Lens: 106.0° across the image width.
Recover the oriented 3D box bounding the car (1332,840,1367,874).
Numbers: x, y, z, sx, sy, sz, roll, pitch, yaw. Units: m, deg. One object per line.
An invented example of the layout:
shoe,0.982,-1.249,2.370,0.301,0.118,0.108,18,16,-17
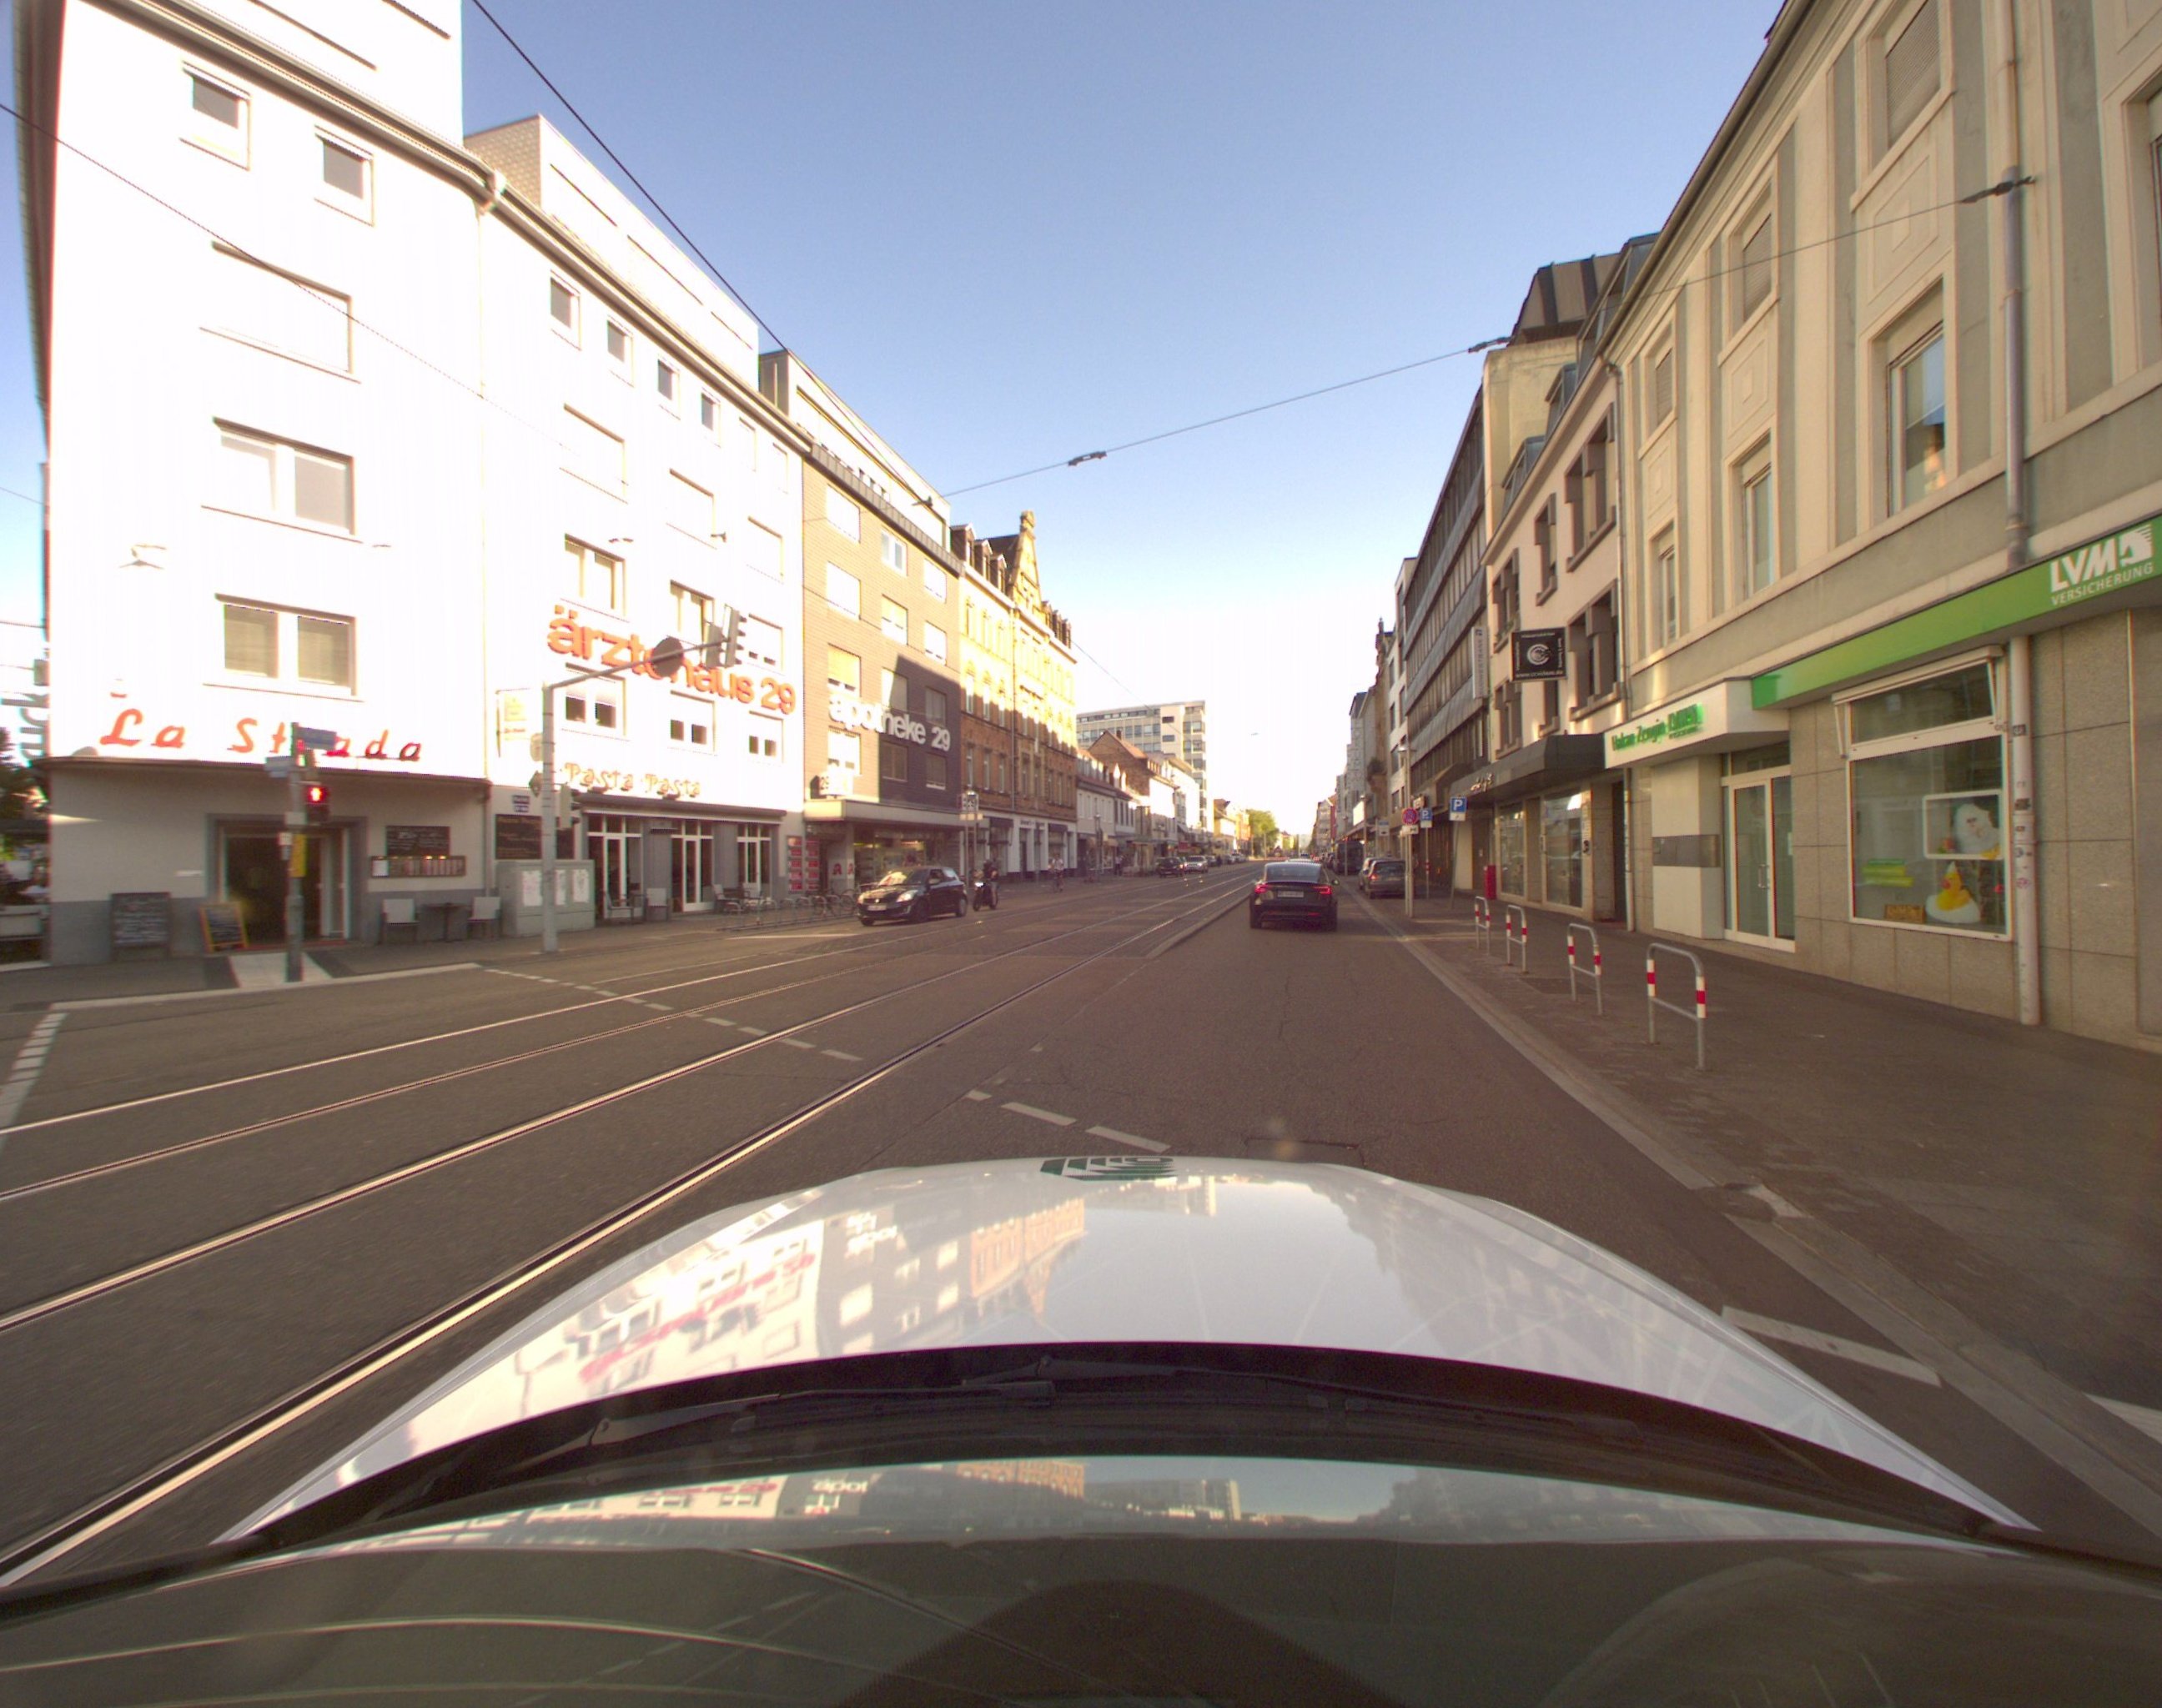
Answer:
car,20.845,0.220,63.385,2.155,2.461,5.383,-3,0,15

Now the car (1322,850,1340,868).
car,27.424,0.546,89.248,1.807,1.870,3.769,0,0,16

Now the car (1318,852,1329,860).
car,44.092,0.381,148.084,1.979,1.543,4.016,-1,-1,15

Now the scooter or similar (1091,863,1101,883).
scooter or similar,0.983,1.223,52.721,0.361,1.201,1.482,1,0,12

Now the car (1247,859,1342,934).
car,4.934,0.867,18.650,1.855,1.427,4.383,0,0,16

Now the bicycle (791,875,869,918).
bicycle,-7.560,1.254,24.546,2.090,1.223,0.776,0,0,10

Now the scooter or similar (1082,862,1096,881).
scooter or similar,0.516,1.149,52.843,0.575,1.202,1.482,1,0,12

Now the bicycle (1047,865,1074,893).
bicycle,-0.983,1.201,39.827,0.745,1.293,2.034,-2,-1,16

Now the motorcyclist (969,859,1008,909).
motorcyclist,-2.988,0.951,26.426,0.797,1.558,1.151,-2,-1,16

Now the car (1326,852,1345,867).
car,25.955,0.532,83.260,1.738,1.499,3.769,-1,0,16

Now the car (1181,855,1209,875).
car,10.291,0.961,73.185,1.875,1.594,4.281,-2,-1,16

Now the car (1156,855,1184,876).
car,6.771,0.866,62.062,1.636,1.566,2.841,-1,0,16

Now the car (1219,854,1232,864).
car,24.335,0.792,137.234,1.704,1.571,3.867,-1,0,17

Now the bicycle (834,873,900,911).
bicycle,-6.963,1.211,26.515,1.922,1.172,0.776,1,0,10

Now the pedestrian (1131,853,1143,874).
pedestrian,4.724,0.775,68.983,0.879,1.775,0.690,-1,0,14

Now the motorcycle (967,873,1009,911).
motorcycle,-2.988,1.205,26.398,0.565,1.120,2.126,-2,-1,16

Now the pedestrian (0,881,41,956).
pedestrian,-19.305,1.156,14.731,0.492,1.322,0.645,-1,0,-43

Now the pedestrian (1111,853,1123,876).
pedestrian,2.832,0.803,64.149,0.607,1.775,0.723,-1,0,29

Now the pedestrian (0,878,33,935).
pedestrian,-26.214,1.263,19.878,1.046,1.347,0.738,-1,0,37

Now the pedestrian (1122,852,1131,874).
pedestrian,3.810,0.771,68.659,0.652,1.823,0.644,-1,0,10

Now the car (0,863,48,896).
car,-72.477,1.738,53.629,1.974,2.145,5.443,-1,0,38

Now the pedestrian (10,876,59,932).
pedestrian,-26.938,1.269,20.968,0.946,1.360,0.737,-1,0,39

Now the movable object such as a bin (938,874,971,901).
movable object such as a bin,-5.063,1.341,32.679,1.091,1.063,0.702,0,0,16

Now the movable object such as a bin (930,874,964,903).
movable object such as a bin,-5.272,1.341,31.980,1.091,1.072,0.738,0,0,16

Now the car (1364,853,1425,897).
car,11.701,0.743,30.646,1.833,1.462,4.321,-2,-1,17

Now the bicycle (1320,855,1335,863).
bicycle,36.354,0.776,120.196,2.144,1.097,0.689,-1,0,13

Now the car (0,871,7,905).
car,-59.017,1.804,43.367,3.949,1.825,2.012,-1,-1,40

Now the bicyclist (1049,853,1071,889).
bicyclist,-1.016,0.803,39.731,0.745,1.729,1.151,-1,-1,16

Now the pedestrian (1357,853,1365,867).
pedestrian,29.548,0.640,85.899,0.729,1.402,0.987,-1,0,15

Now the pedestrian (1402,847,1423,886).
pedestrian,15.316,0.560,37.671,0.773,1.752,1.036,-1,0,16

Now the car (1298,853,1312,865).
car,35.421,0.781,128.525,2.069,1.870,3.769,0,0,16

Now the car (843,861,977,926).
car,-4.434,0.995,21.827,1.700,1.446,4.156,-3,-1,16

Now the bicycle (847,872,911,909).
bicycle,-6.756,1.231,27.302,1.922,1.192,0.776,-1,0,10

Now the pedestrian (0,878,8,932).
pedestrian,-27.320,1.279,20.258,1.046,1.347,0.716,-1,0,36

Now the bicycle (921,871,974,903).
bicycle,-5.120,1.271,31.324,1.922,1.190,0.553,-1,0,11

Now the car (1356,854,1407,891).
car,13.069,0.771,35.623,1.732,1.462,4.313,-1,0,15

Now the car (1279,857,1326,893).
car,9.237,0.844,34.007,1.748,1.419,4.372,-1,-1,15

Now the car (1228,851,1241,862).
car,29.401,0.430,155.971,1.994,1.961,4.744,-1,0,15

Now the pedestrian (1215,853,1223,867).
pedestrian,18.310,0.811,108.166,0.833,1.849,0.764,-1,-1,-45

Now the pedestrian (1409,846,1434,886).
pedestrian,16.205,0.546,38.749,0.916,1.842,1.003,-3,-1,16

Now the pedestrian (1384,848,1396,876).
pedestrian,19.574,0.511,51.629,0.552,1.714,0.958,-3,-1,14
